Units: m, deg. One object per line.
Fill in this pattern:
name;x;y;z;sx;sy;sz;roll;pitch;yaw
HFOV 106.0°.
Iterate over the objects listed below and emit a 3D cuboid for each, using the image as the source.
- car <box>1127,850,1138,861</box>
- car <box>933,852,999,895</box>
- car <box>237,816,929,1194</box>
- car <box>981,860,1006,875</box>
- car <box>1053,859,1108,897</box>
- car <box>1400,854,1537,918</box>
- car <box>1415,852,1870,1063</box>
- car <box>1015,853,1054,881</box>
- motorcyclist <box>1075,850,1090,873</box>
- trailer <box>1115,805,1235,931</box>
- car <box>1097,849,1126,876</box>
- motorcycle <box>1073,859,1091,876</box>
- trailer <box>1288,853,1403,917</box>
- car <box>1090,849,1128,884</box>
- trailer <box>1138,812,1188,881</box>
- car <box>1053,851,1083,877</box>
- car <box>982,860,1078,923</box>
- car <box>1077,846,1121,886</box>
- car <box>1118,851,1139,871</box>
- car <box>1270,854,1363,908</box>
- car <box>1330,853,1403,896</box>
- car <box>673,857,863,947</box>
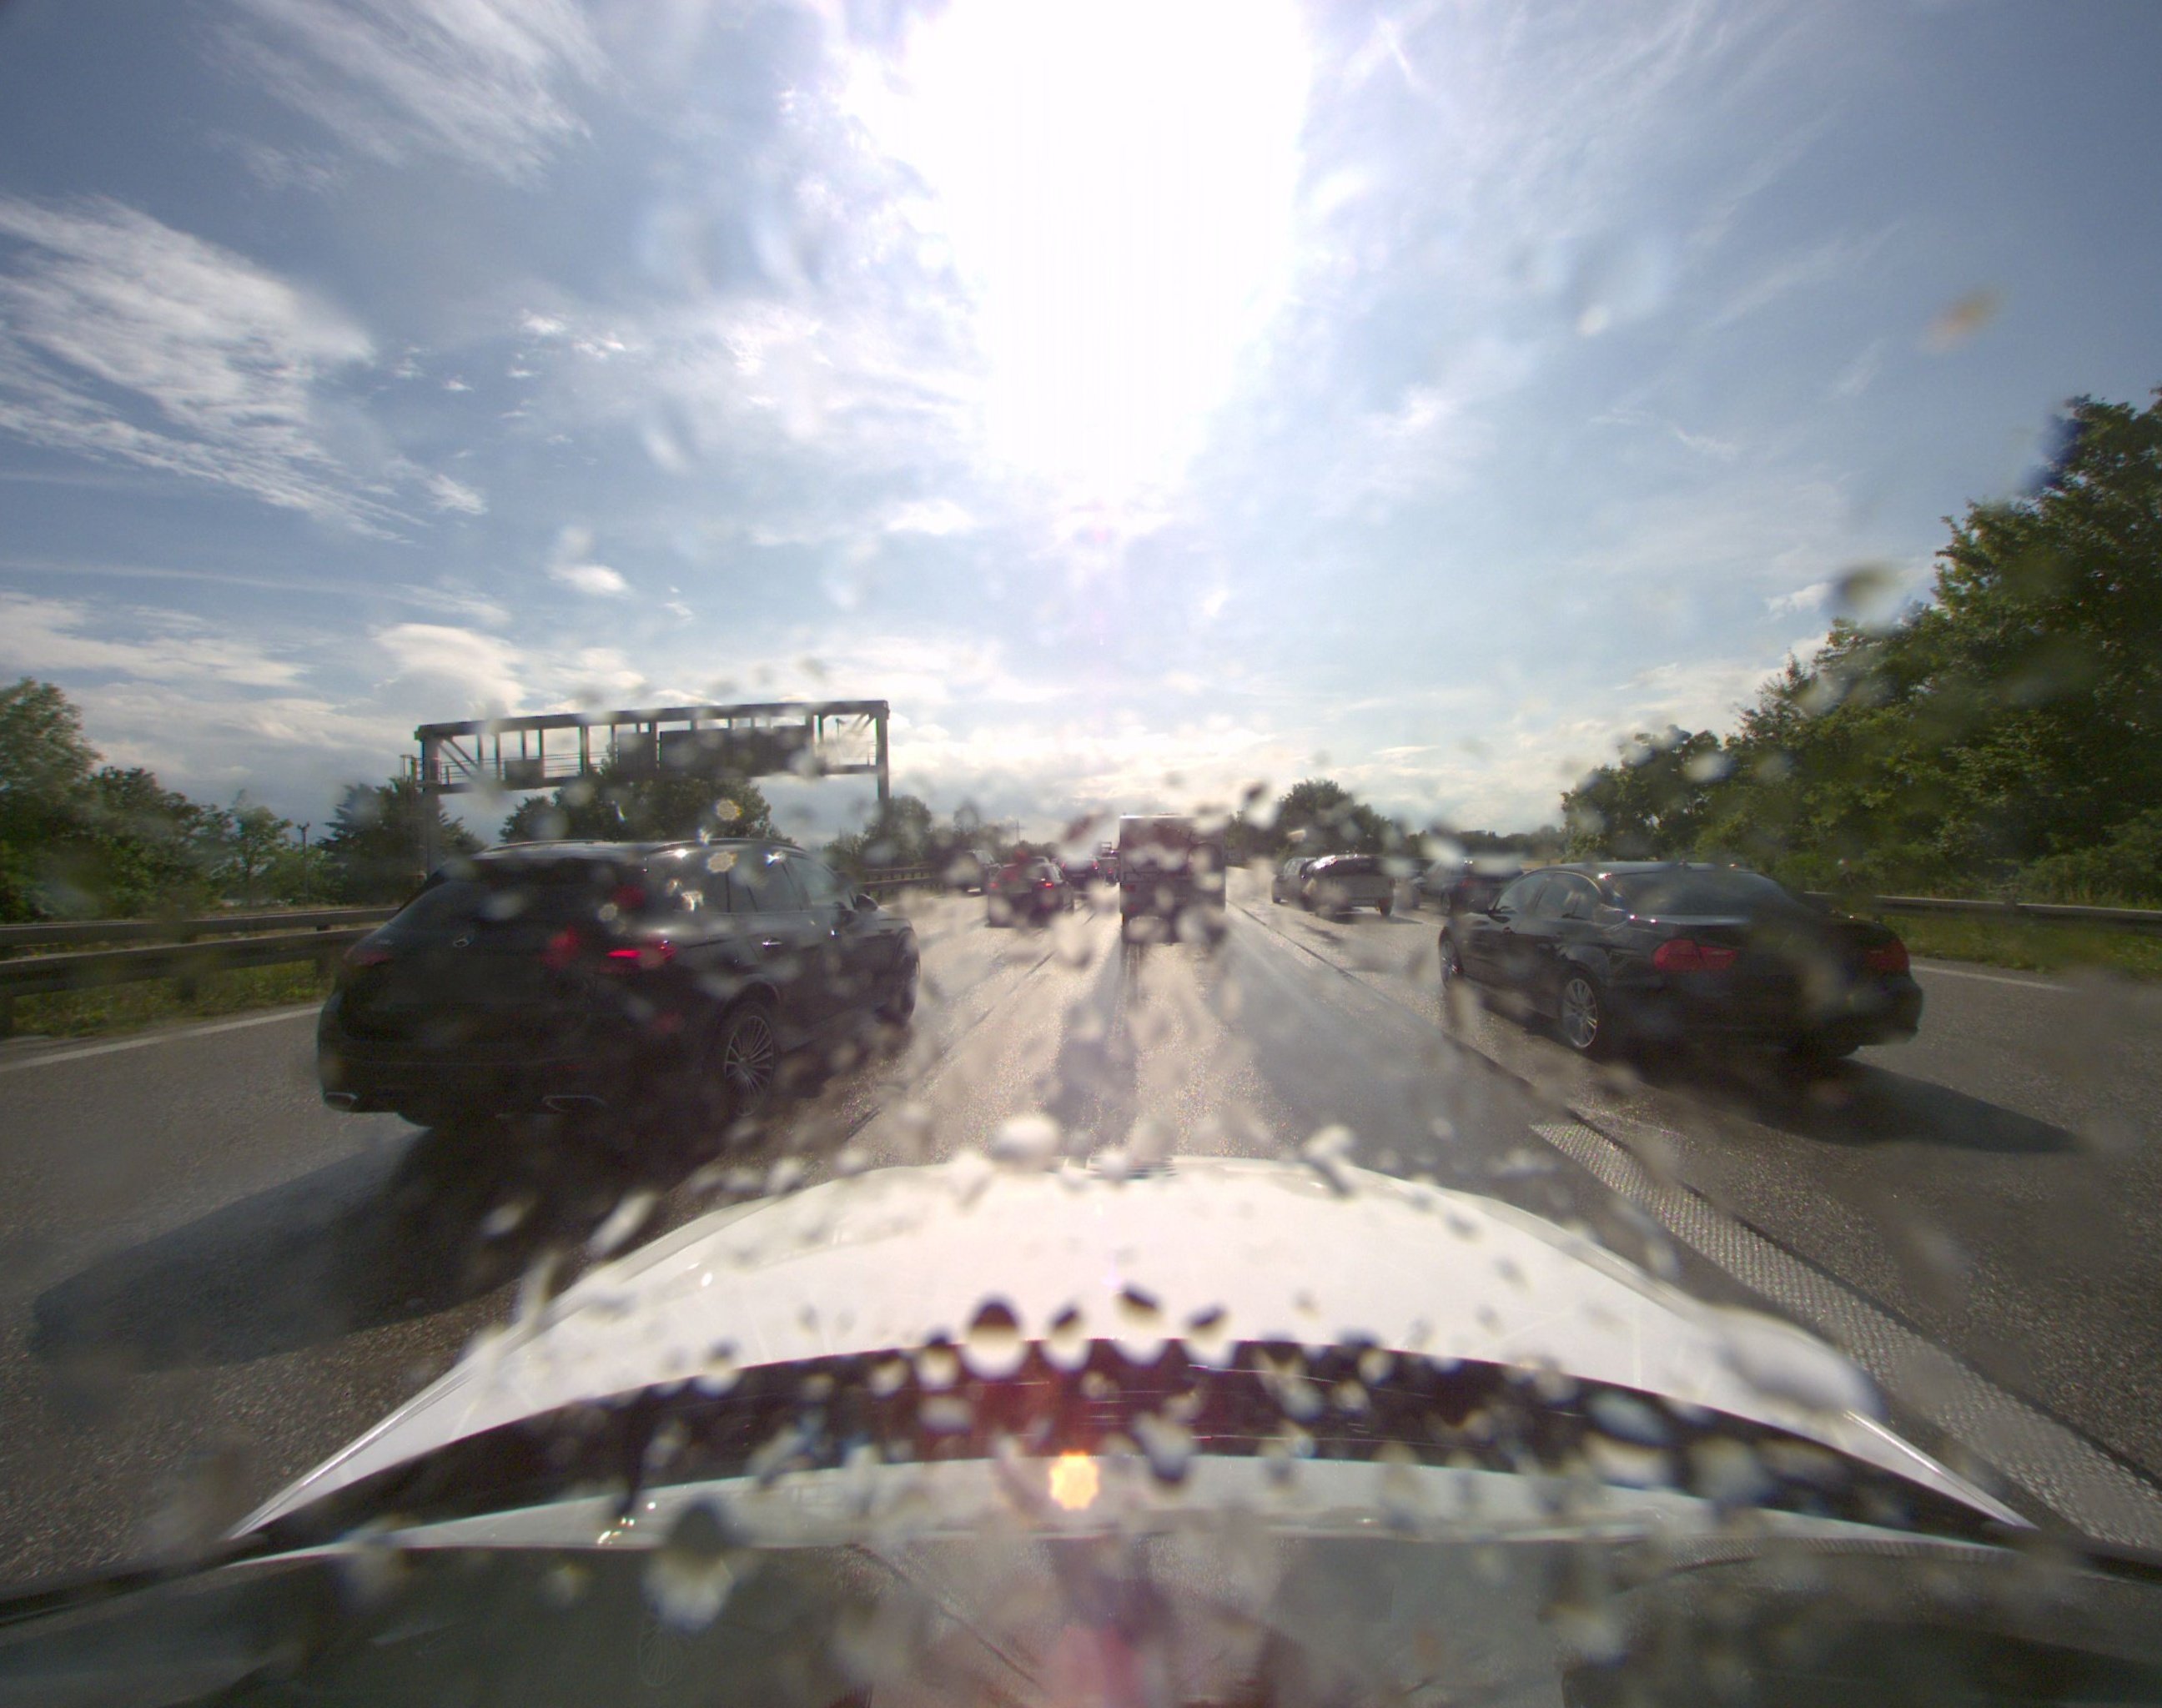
car;8.770;0.298;138.993;1.869;1.760;4.002;0;-1;2
car;-4.813;0.796;34.607;1.985;1.720;4.004;0;-1;3
car;-2.678;0.693;5.852;1.984;1.661;4.411;-1;-1;5
car;-8.562;1.280;79.890;1.749;1.380;3.881;-1;0;4
car;0.042;0.896;31.733;1.797;1.407;4.005;0;0;5
car;9.516;0.725;20.386;1.762;1.401;4.296;-1;0;6
car;4.575;0.713;7.437;1.732;1.420;3.841;-1;0;5
car;-3.024;0.852;54.256;1.984;1.772;4.006;0;0;6
motorcyclist;0.087;0.571;61.745;1.059;1.718;0.786;-1;-1;5
trailer;2.127;0.298;19.381;2.363;2.483;6.531;0;-1;5
car;2.467;0.689;64.782;1.984;2.014;4.006;-2;0;6
motorcycle;0.082;1.021;61.580;1.068;1.271;2.694;-1;0;6
trailer;6.549;0.712;20.642;1.846;1.442;4.153;-1;0;5
car;1.806;0.785;50.997;1.984;2.013;4.006;3;0;6
trailer;5.519;-0.431;53.936;2.991;4.166;8.552;0;0;7
car;-1.046;0.828;69.189;1.984;2.013;4.006;3;0;6
car;-1.165;0.856;20.369;1.748;1.387;3.951;-1;0;6
car;0.996;0.633;43.065;1.984;2.014;4.006;0;0;6
car;4.882;0.673;83.882;1.984;2.014;4.006;0;0;6
car;6.848;0.733;24.119;1.846;1.442;4.263;-1;0;5
car;10.588;0.720;30.446;1.663;1.482;3.676;-1;0;5
car;-5.932;0.829;16.034;1.748;1.516;4.215;-1;0;6
